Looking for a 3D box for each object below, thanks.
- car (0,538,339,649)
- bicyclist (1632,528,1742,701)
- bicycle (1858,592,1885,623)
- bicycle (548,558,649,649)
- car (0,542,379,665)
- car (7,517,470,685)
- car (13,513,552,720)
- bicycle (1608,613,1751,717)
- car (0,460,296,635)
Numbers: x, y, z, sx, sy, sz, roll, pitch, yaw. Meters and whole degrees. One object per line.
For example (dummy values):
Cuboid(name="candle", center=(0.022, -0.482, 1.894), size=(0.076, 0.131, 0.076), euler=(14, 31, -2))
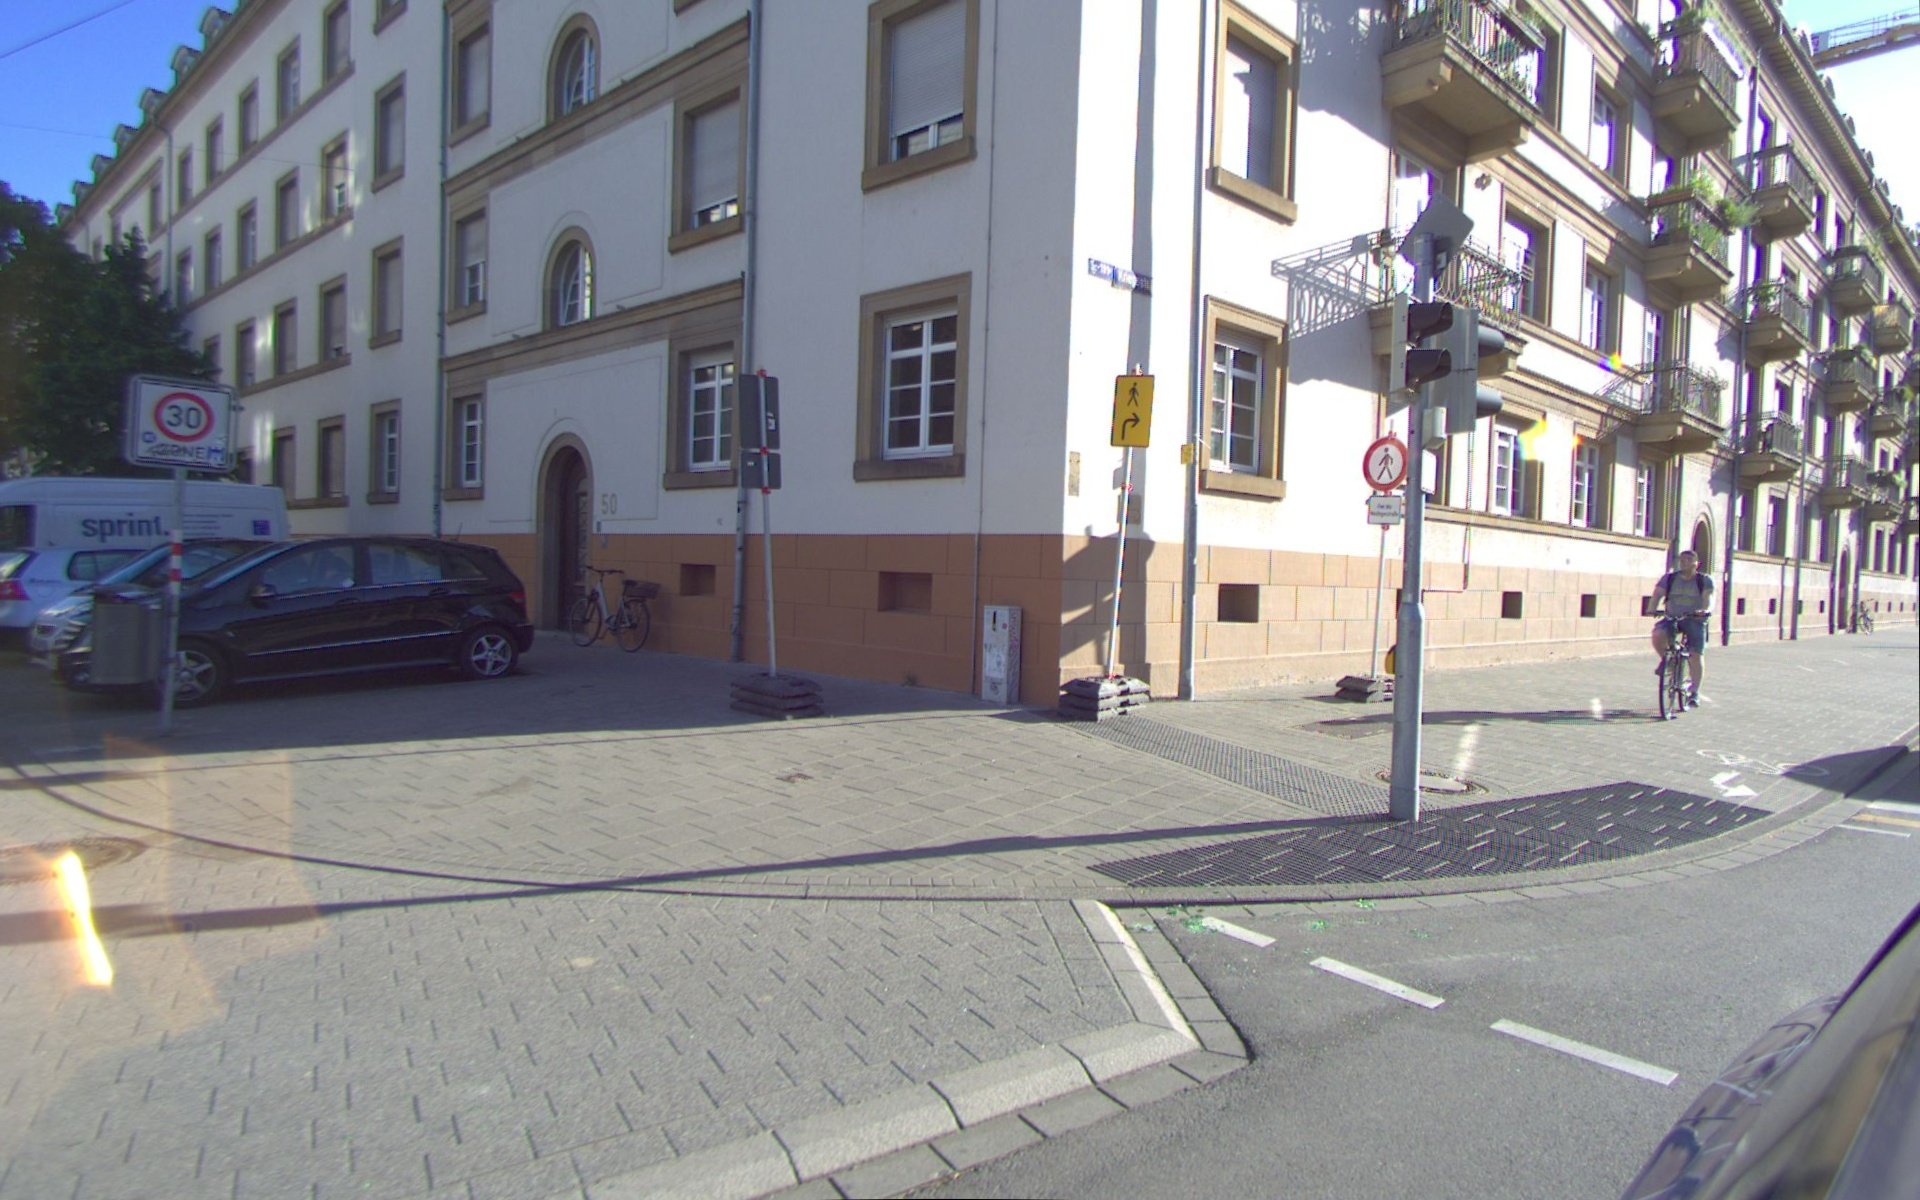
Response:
Cuboid(name="car", center=(-12.377, -0.145, 15.703), size=(1.690, 1.497, 4.377), euler=(0, 1, 39))
Cuboid(name="bicyclist", center=(7.930, 0.132, 11.038), size=(0.921, 1.785, 0.734), euler=(0, 2, -41))
Cuboid(name="bicycle", center=(33.002, 0.259, 36.644), size=(2.159, 1.109, 0.419), euler=(0, 2, -41))
Cuboid(name="bicycle", center=(-5.058, 0.023, 14.098), size=(1.800, 1.179, 0.401), euler=(3, 3, 37))
Cuboid(name="car", center=(-10.714, -0.014, 13.968), size=(1.689, 1.447, 4.379), euler=(0, 1, 38))
Cuboid(name="car", center=(-8.627, -0.086, 12.503), size=(1.620, 1.707, 4.381), euler=(2, 3, 37))
Cuboid(name="car", center=(-6.773, 0.053, 10.549), size=(1.691, 1.707, 4.374), euler=(0, 2, 42))
Cuboid(name="bicycle", center=(7.836, 0.653, 10.981), size=(2.160, 0.964, 0.769), euler=(0, 2, -42))
Cuboid(name="car", center=(-14.620, -0.879, 16.615), size=(1.919, 2.640, 5.883), euler=(3, 5, 38))
